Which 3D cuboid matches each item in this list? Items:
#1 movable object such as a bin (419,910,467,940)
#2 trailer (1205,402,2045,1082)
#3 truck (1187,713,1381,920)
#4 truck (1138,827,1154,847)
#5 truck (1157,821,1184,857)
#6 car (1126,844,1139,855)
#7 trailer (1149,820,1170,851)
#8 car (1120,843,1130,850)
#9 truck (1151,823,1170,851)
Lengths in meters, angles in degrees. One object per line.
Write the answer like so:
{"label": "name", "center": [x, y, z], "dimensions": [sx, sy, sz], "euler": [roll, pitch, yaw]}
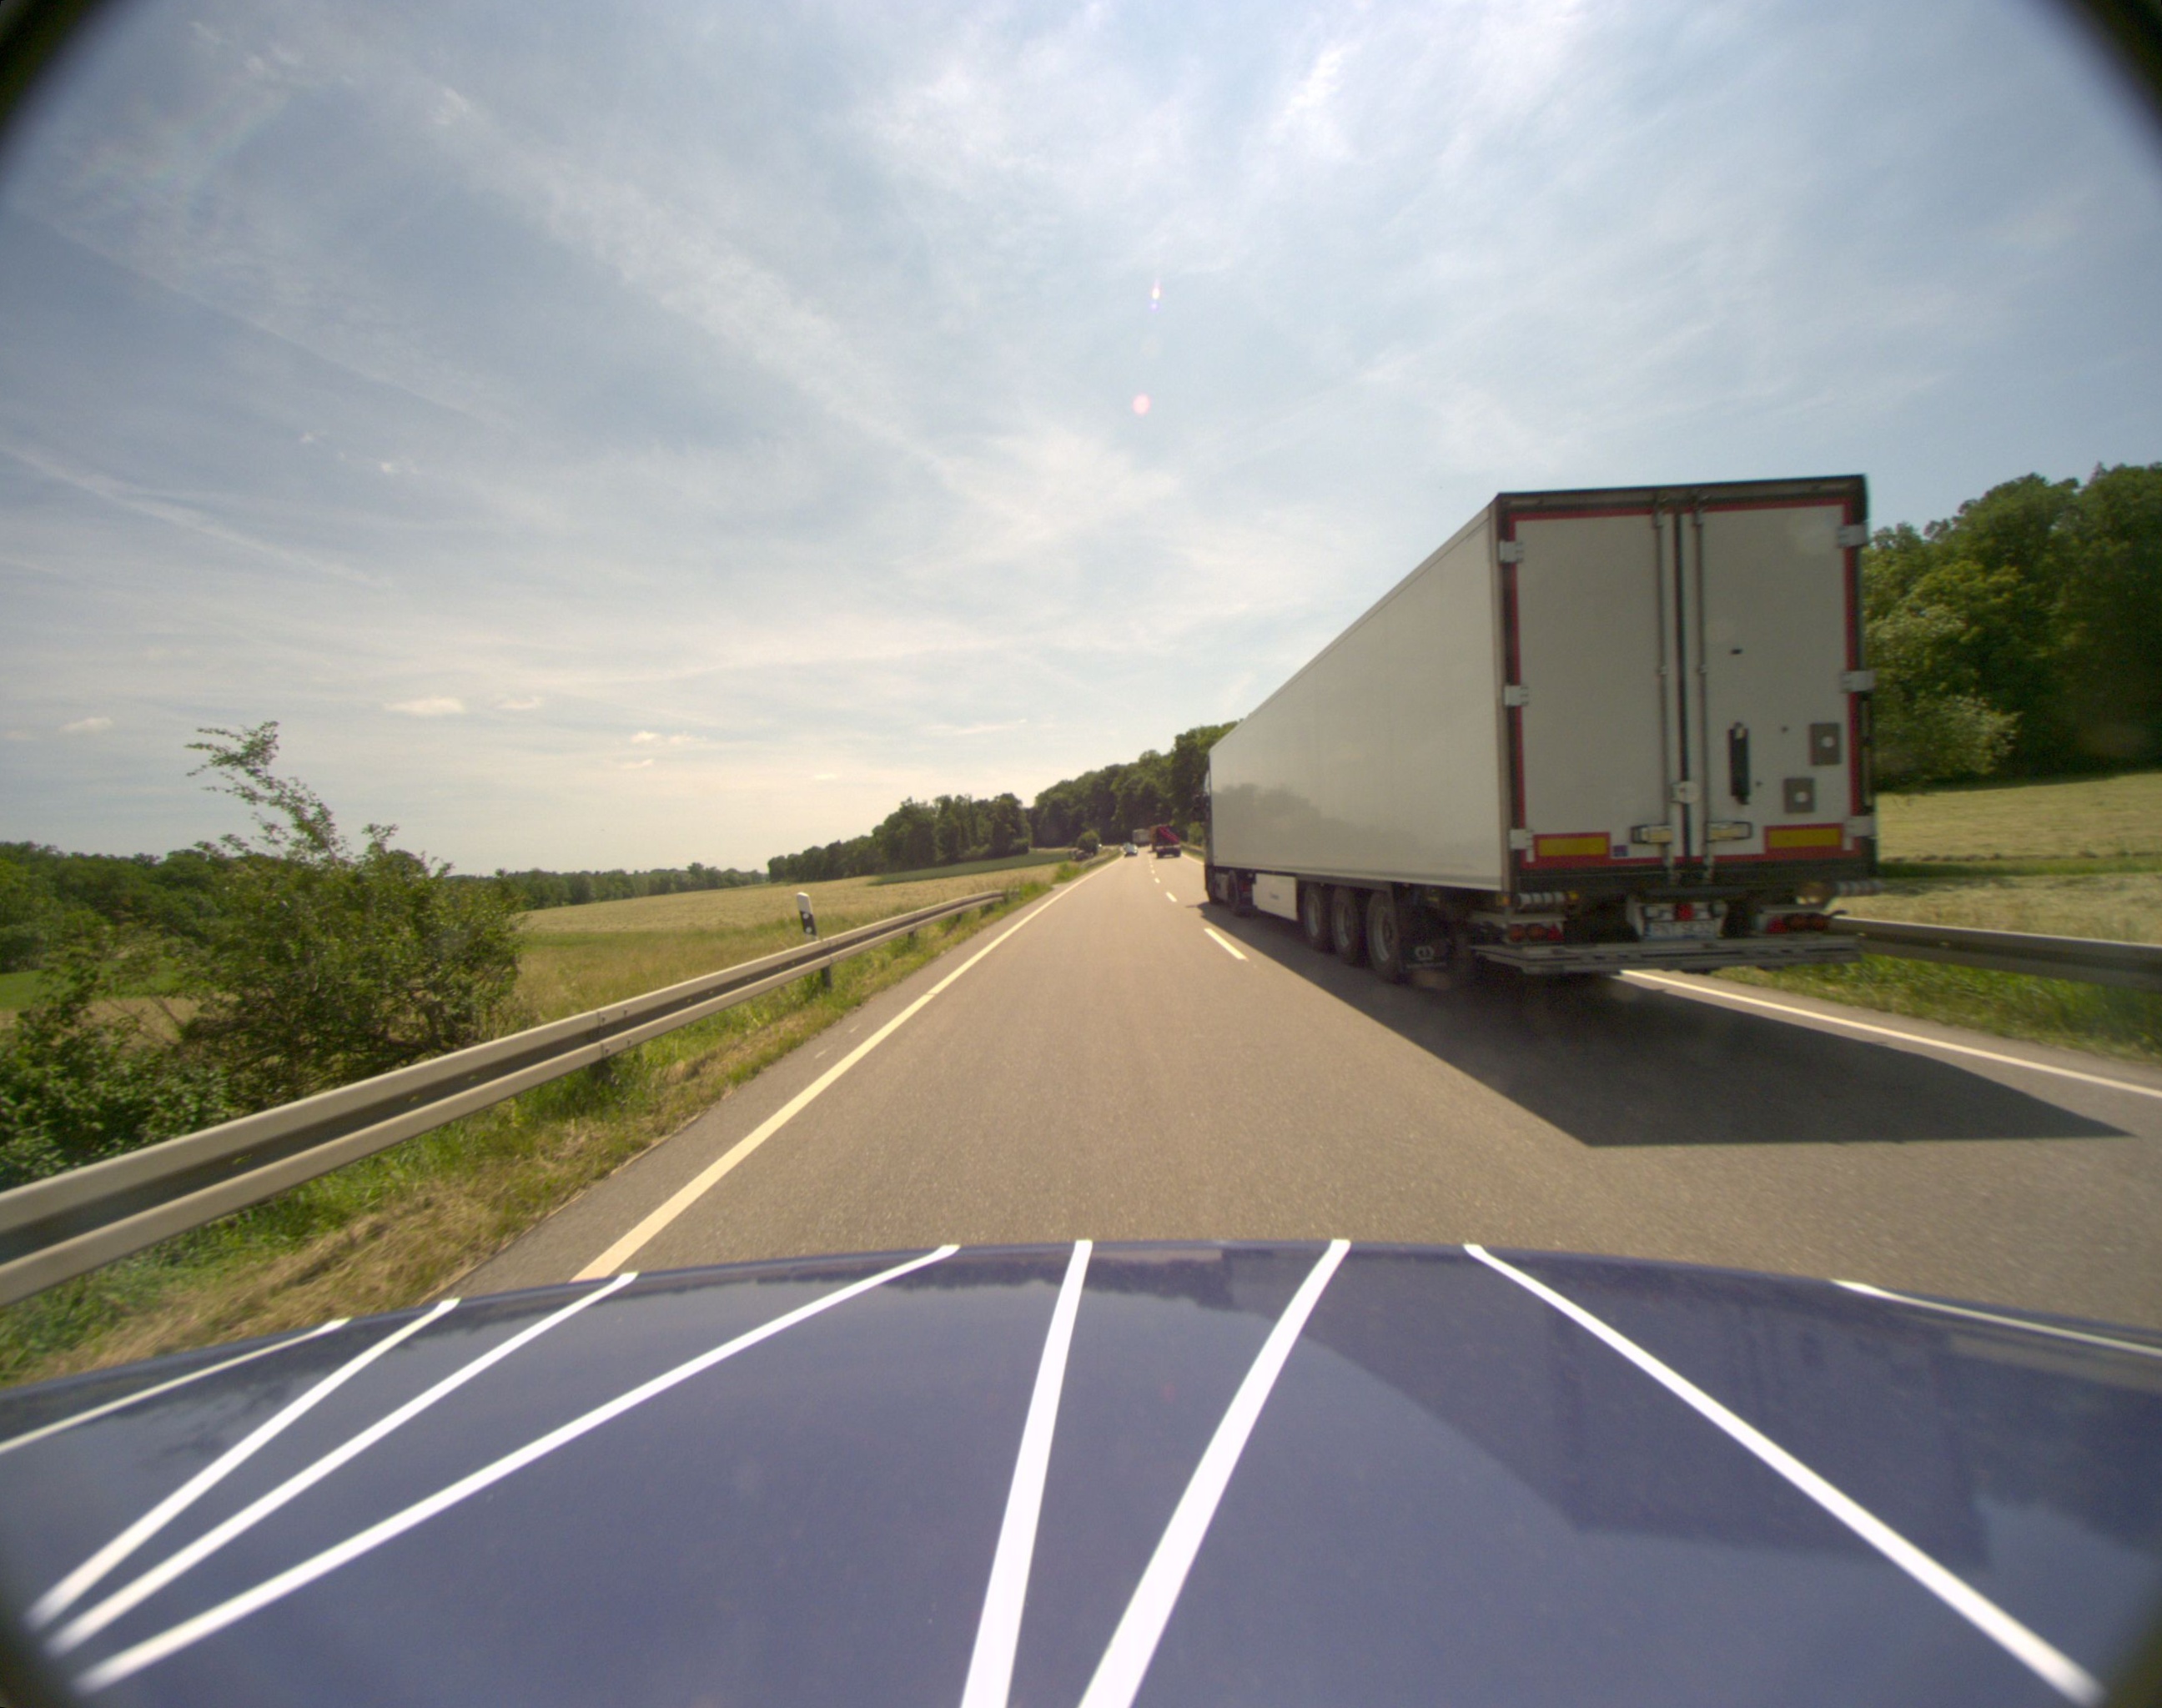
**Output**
{"label": "movable object such as a bin", "center": [-66.813, 7.444, 79.508], "dimensions": [6.211, 2.854, 1.956], "euler": [-5, 1, 33]}
{"label": "trailer", "center": [4.722, -0.766, 11.885], "dimensions": [3.382, 4.375, 13.745], "euler": [-2, 0, 1]}
{"label": "truck", "center": [4.777, -0.850, 19.143], "dimensions": [3.382, 4.376, 5.445], "euler": [-2, 1, 1]}
{"label": "truck", "center": [15.709, -4.057, 183.956], "dimensions": [3.182, 4.493, 13.321], "euler": [-3, 1, 3]}
{"label": "truck", "center": [10.069, -1.721, 85.464], "dimensions": [2.709, 3.629, 10.103], "euler": [-3, 1, 7]}
{"label": "car", "center": [7.247, -0.698, 107.082], "dimensions": [1.621, 1.428, 3.444], "euler": [-4, 1, 6]}
{"label": "trailer", "center": [12.732, -2.989, 122.340], "dimensions": [2.709, 4.493, 14.260], "euler": [-4, 1, 7]}
{"label": "car", "center": [9.072, -1.583, 157.068], "dimensions": [1.622, 1.428, 3.442], "euler": [-4, 1, -2]}
{"label": "truck", "center": [13.592, -2.926, 129.778], "dimensions": [2.709, 4.493, 6.466], "euler": [-4, 1, 7]}
